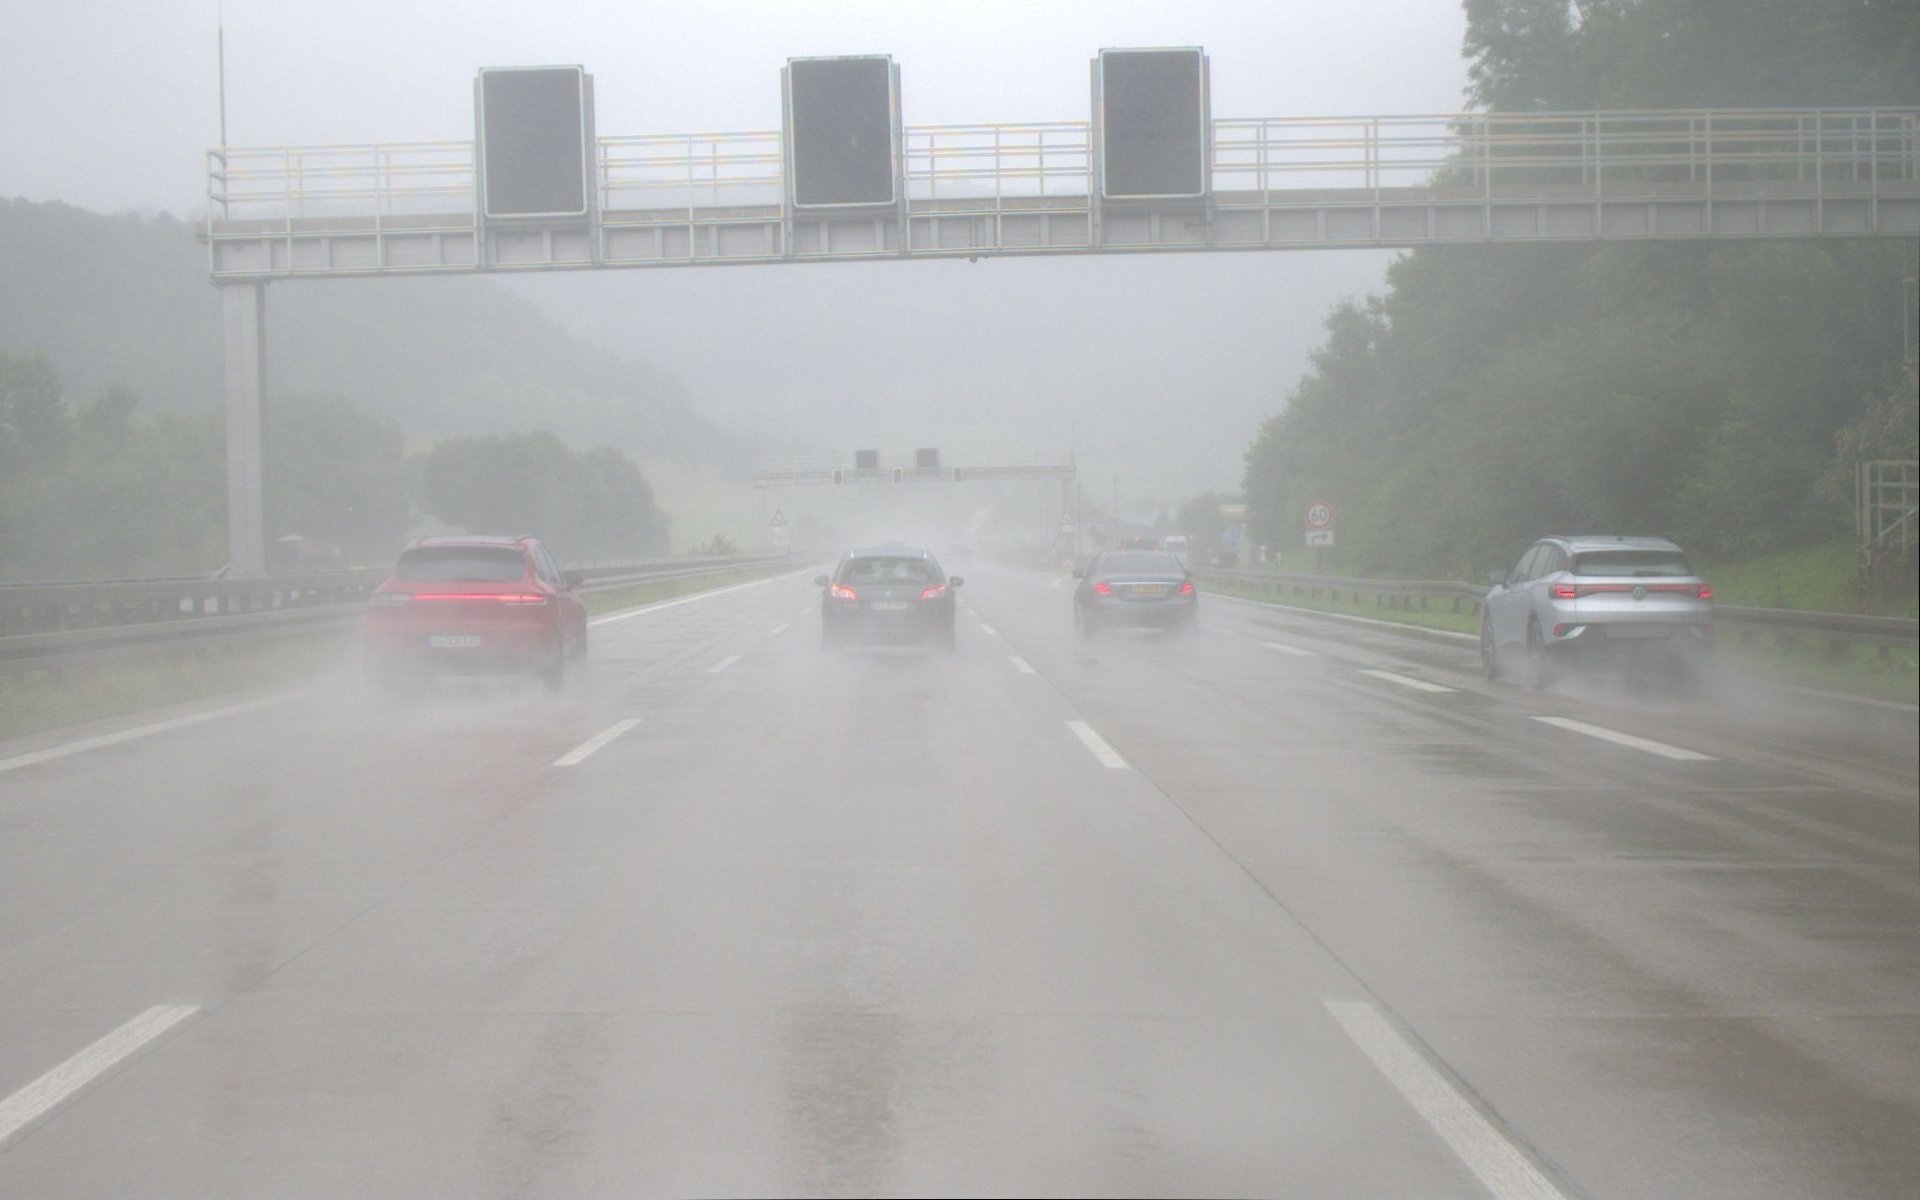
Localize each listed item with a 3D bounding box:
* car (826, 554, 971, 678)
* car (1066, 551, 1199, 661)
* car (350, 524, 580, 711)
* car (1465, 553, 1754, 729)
[{"bbox_3d":[-0.824,0.181,46.601,1.859,1.584,4.000,1,1,-1],"label":"car"},{"bbox_3d":[2.839,0.069,57.468,1.971,1.754,4.000,0,1,-1],"label":"car"},{"bbox_3d":[-5.003,0.133,35.223,1.884,1.809,4.000,0,1,-2],"label":"car"},{"bbox_3d":[6.956,0.380,37.453,1.993,1.744,5.663,1,1,-1],"label":"car"}]
